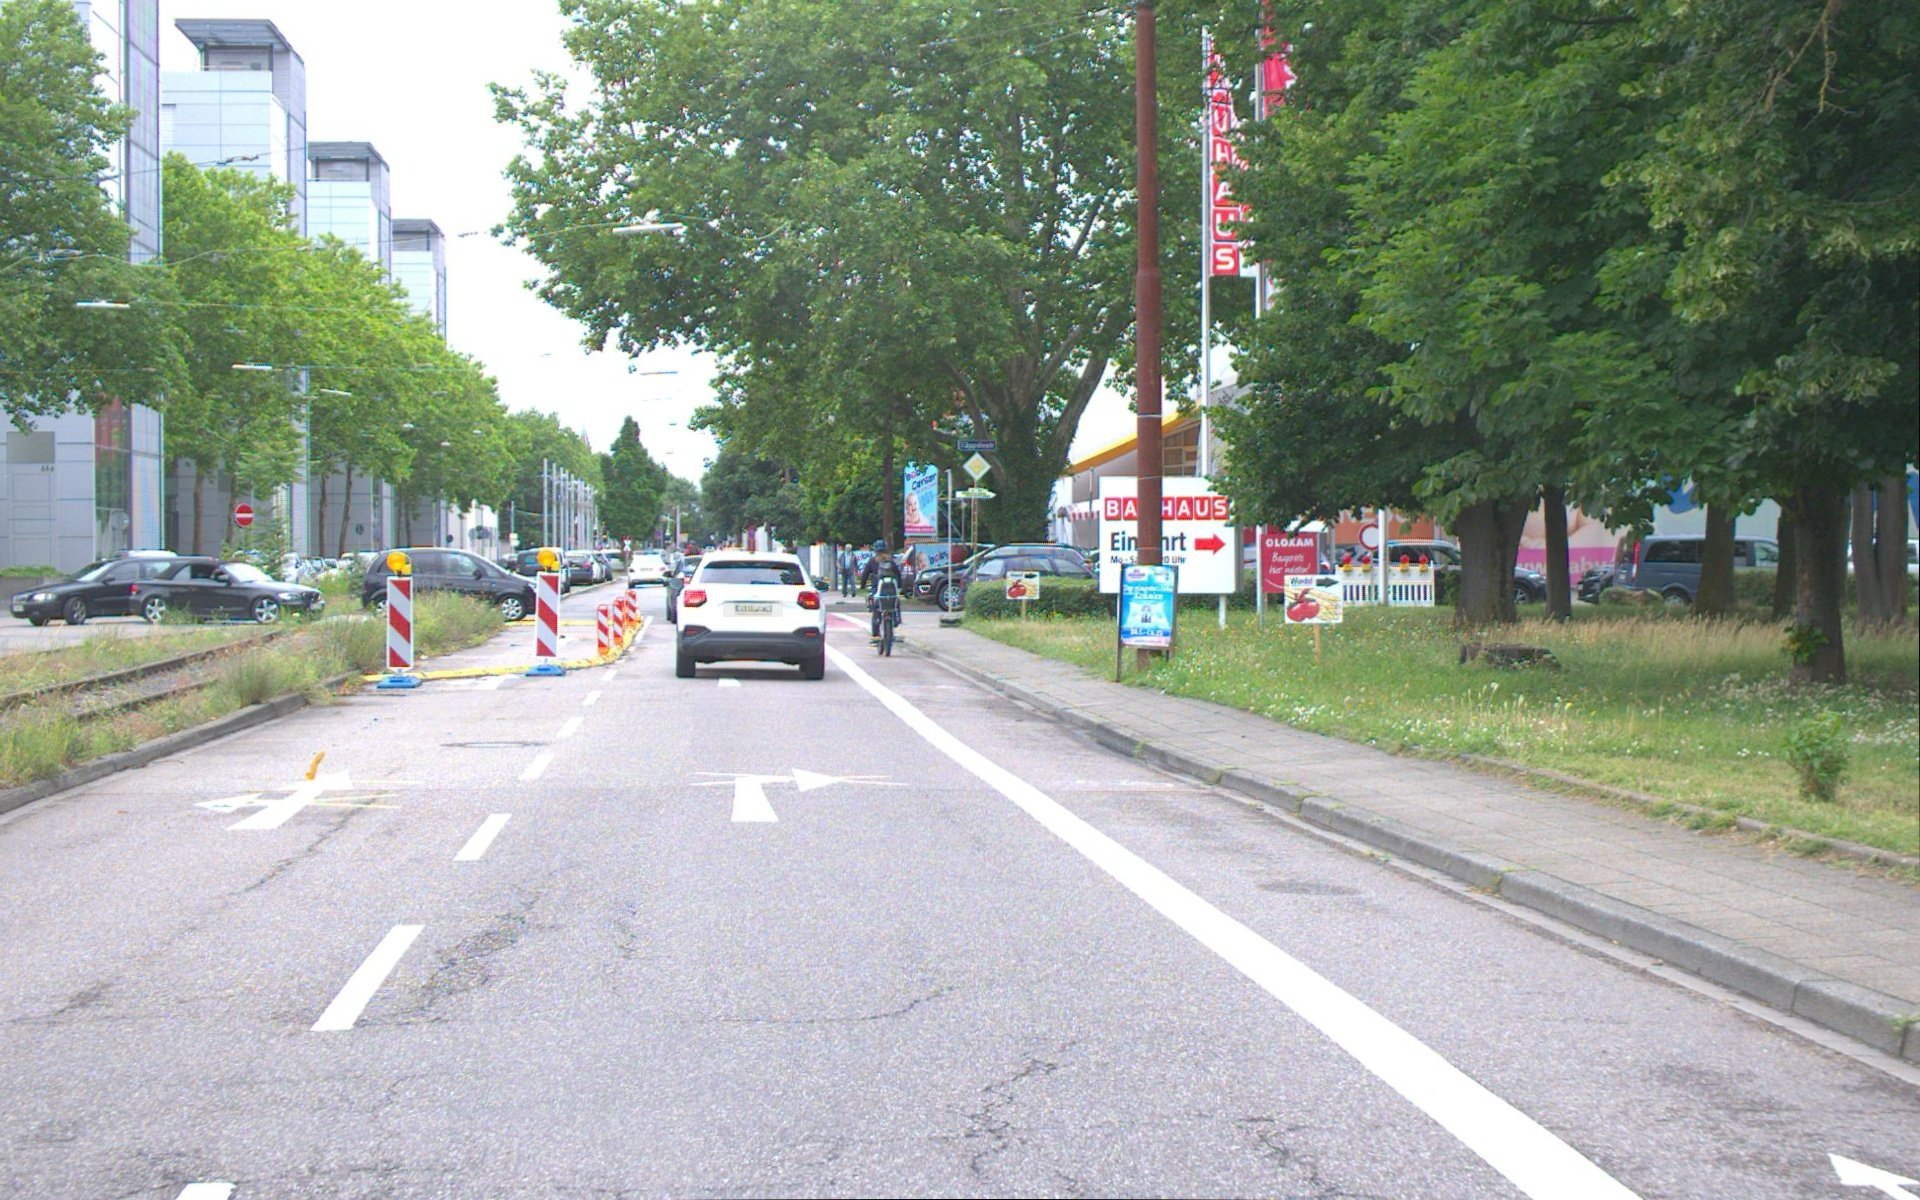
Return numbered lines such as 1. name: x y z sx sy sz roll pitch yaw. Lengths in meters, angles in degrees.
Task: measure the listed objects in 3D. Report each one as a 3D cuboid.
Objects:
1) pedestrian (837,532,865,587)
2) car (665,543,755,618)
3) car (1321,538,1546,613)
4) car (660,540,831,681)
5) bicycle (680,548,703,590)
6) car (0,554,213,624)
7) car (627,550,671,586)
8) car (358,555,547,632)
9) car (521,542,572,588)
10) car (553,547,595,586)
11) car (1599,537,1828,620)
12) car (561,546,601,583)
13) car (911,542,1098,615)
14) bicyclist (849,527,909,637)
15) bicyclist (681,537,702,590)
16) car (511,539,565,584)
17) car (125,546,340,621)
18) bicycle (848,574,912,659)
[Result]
1. pedestrian: -3.388 -1.253 107.119 0.760 1.699 0.682 -1 1 -9
2. car: -5.350 -0.439 73.222 1.684 1.508 3.707 1 1 -7
3. car: 10.336 -0.540 75.198 4.552 1.566 1.993 -1 1 -4
4. car: -2.660 0.094 41.943 1.823 1.595 3.777 1 1 -7
5. bicycle: -9.282 -1.079 118.738 0.670 1.389 2.167 1 1 -7
6. car: -18.785 -0.258 75.220 4.412 1.467 1.825 -1 1 -32
7. car: -13.898 -1.447 153.369 1.795 1.508 3.707 1 1 -7
8. car: -10.924 -0.145 74.185 3.882 1.550 1.826 1 0 -4
9. car: -16.160 -1.396 134.589 1.876 1.757 4.001 -1 1 -6
10. car: -18.288 -1.600 162.917 1.876 1.757 4.001 -1 1 -6
11. car: 16.700 -0.501 76.340 4.552 1.784 2.074 0 2 -4
12. car: -18.506 -1.728 168.128 1.876 1.757 4.001 -1 1 -6
13. car: 1.034 -0.515 82.172 4.313 1.671 1.993 -1 1 -4
14. bicyclist: -1.220 -0.279 51.529 0.816 1.624 1.235 -1 1 -4
15. bicyclist: -9.270 -1.273 118.677 0.670 1.809 0.760 1 1 -7
16. car: -15.781 -1.467 128.782 1.876 1.627 4.001 -1 1 -6
17. car: -15.514 -0.339 73.357 4.120 1.470 1.824 -2 -1 18
18. bicycle: -1.212 0.232 51.536 0.816 1.208 2.684 -1 1 -4
